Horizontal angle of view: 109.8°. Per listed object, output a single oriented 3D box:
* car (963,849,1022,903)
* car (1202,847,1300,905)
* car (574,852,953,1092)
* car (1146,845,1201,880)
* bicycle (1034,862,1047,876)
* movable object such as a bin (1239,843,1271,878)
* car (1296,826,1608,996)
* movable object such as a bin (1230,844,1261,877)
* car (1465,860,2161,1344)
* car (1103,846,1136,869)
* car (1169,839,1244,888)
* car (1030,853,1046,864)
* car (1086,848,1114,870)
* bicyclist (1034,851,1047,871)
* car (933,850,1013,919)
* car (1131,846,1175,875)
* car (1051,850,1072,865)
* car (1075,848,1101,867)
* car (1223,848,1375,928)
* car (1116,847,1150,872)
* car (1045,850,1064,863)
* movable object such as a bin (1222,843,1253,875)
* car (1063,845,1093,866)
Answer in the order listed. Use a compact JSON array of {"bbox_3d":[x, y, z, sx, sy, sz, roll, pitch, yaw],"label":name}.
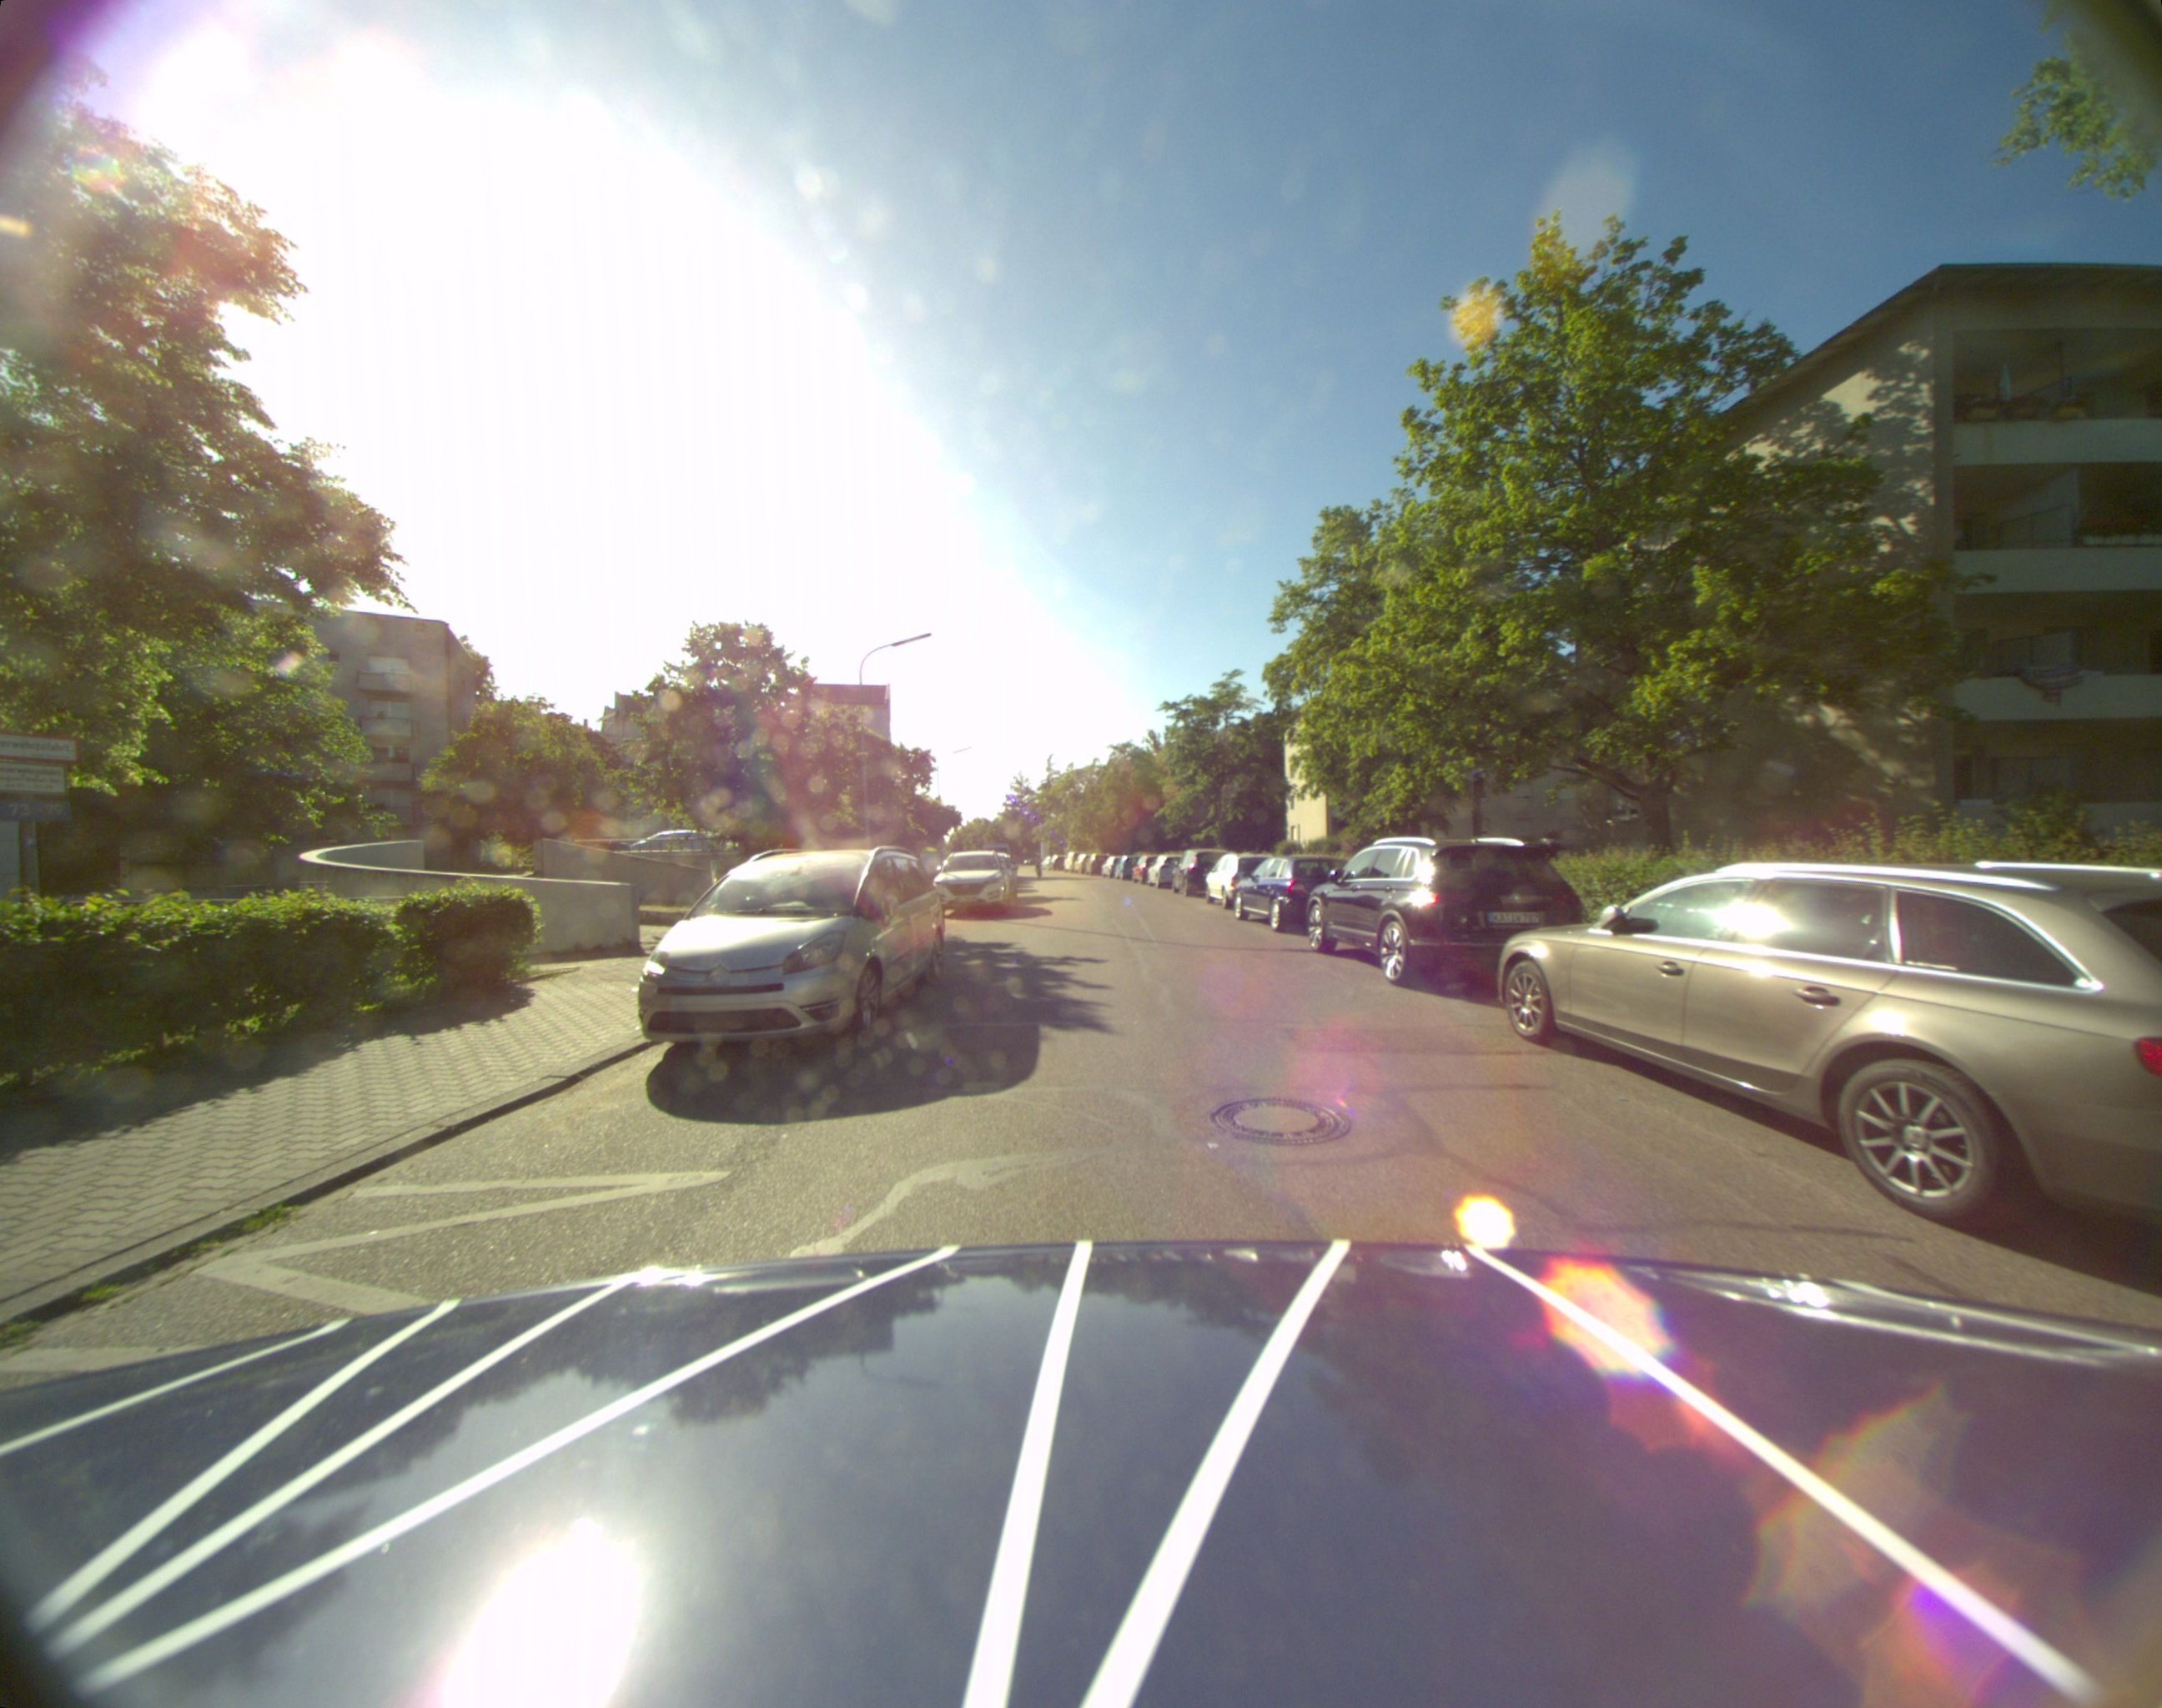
[{"bbox_3d":[-2.993,0.682,26.361,1.759,1.676,3.982,-2,1,-3],"label":"car"},{"bbox_3d":[4.545,0.524,20.921,1.759,1.428,4.150,0,1,0],"label":"car"},{"bbox_3d":[-2.632,0.838,7.629,1.758,1.618,4.495,-2,1,2],"label":"car"},{"bbox_3d":[4.069,0.325,33.914,1.811,1.470,3.939,0,1,-2],"label":"car"},{"bbox_3d":[-2.726,0.997,50.977,0.824,0.896,2.202,-2,1,-3],"label":"bicycle"},{"bbox_3d":[7.437,0.280,32.507,0.897,1.407,1.264,-4,1,-4],"label":"movable object such as a bin"},{"bbox_3d":[4.221,0.535,9.579,1.759,1.659,4.389,0,1,0],"label":"car"},{"bbox_3d":[7.306,0.272,33.795,0.978,1.407,1.189,-4,1,-4],"label":"movable object such as a bin"},{"bbox_3d":[4.215,0.790,4.211,1.759,1.377,4.673,0,1,0],"label":"car"},{"bbox_3d":[2.550,0.220,51.270,1.658,1.470,3.733,0,1,-7],"label":"car"},{"bbox_3d":[4.351,0.291,27.064,1.811,1.596,4.431,0,1,-2],"label":"car"},{"bbox_3d":[-5.717,0.633,101.336,1.659,1.427,3.686,0,1,-11],"label":"car"},{"bbox_3d":[1.432,0.333,58.478,1.658,1.621,4.069,0,1,-6],"label":"car"},{"bbox_3d":[-2.735,0.465,50.912,0.813,1.348,1.090,-2,1,-4],"label":"bicyclist"},{"bbox_3d":[-2.856,0.739,21.000,1.759,1.664,4.411,-2,1,-3],"label":"car"},{"bbox_3d":[3.662,0.304,39.293,1.635,1.470,3.877,0,1,-4],"label":"car"},{"bbox_3d":[-2.128,0.344,82.184,1.659,1.558,3.686,0,1,-11],"label":"car"},{"bbox_3d":[0.580,0.282,64.658,1.659,1.621,3.687,0,1,-8],"label":"car"},{"bbox_3d":[4.169,0.576,15.251,1.642,1.377,4.169,0,1,-3],"label":"car"},{"bbox_3d":[3.149,0.284,46.248,1.658,1.470,3.104,0,1,-4],"label":"car"},{"bbox_3d":[-3.117,0.241,88.247,1.659,1.427,3.686,0,1,-11],"label":"car"},{"bbox_3d":[7.208,0.225,35.093,1.007,1.407,1.264,-4,1,-4],"label":"movable object such as a bin"},{"bbox_3d":[-0.309,0.075,70.274,1.886,1.857,5.434,0,1,-10],"label":"car"}]
